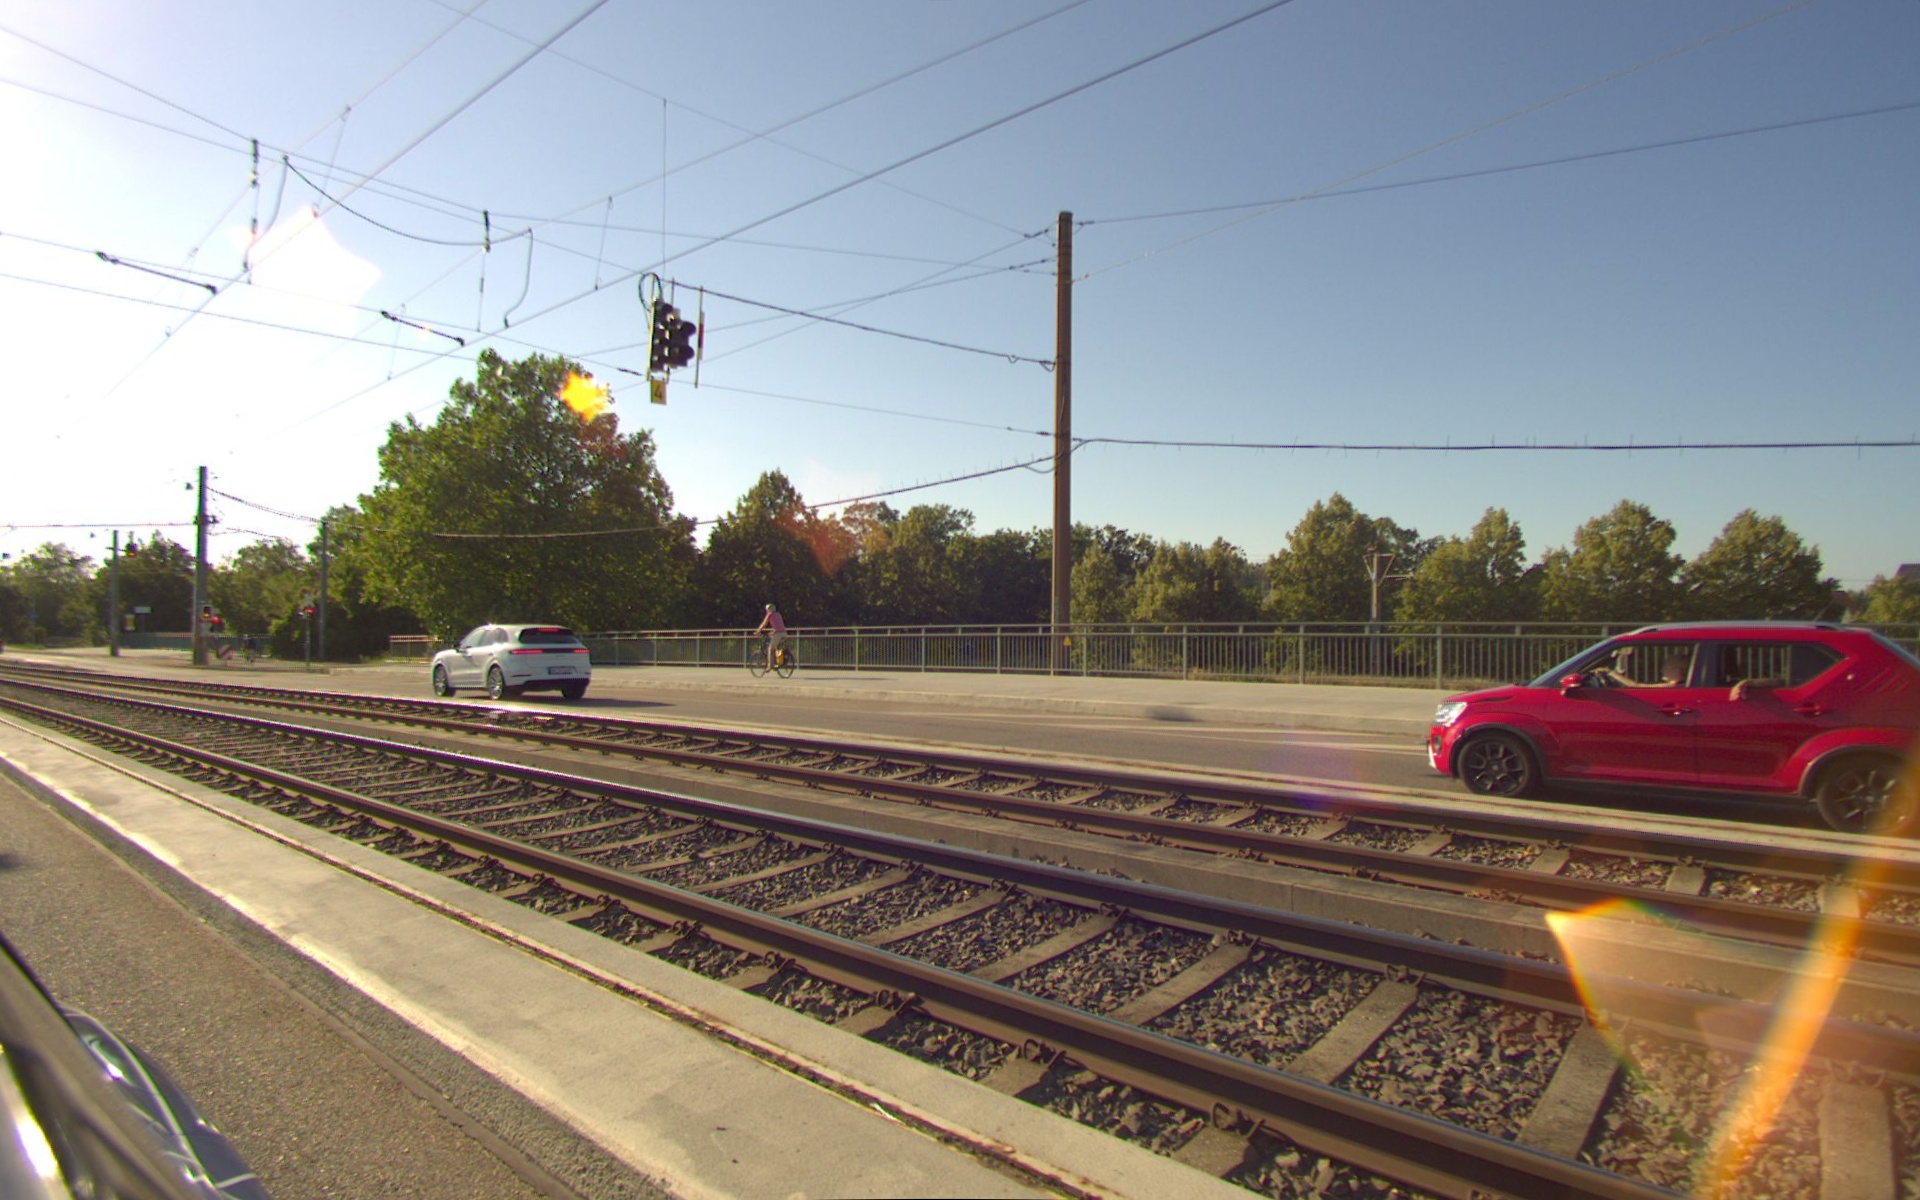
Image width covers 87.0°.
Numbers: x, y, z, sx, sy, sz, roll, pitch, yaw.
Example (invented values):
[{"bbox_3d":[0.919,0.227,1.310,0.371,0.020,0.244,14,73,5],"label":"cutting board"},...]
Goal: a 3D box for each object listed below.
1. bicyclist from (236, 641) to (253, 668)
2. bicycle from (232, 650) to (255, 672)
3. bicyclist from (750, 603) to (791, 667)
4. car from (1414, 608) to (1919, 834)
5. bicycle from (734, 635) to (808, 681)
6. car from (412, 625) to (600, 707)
[{"bbox_3d":[-39.374,2.994,55.685,0.968,1.443,0.618,-1,-1,43],"label":"bicyclist"},{"bbox_3d":[-39.523,3.352,55.825,2.259,1.131,0.618,-1,-1,43],"label":"bicycle"},{"bbox_3d":[-4.963,0.916,26.510,0.935,1.645,0.619,-1,-1,40],"label":"bicyclist"},{"bbox_3d":[6.147,0.890,8.389,3.998,1.531,1.789,-2,-4,41],"label":"car"},{"bbox_3d":[-4.979,1.488,26.520,2.258,1.131,0.619,-1,-1,40],"label":"bicycle"},{"bbox_3d":[-10.458,1.406,23.129,5.087,1.649,1.980,-1,-1,41],"label":"car"}]
